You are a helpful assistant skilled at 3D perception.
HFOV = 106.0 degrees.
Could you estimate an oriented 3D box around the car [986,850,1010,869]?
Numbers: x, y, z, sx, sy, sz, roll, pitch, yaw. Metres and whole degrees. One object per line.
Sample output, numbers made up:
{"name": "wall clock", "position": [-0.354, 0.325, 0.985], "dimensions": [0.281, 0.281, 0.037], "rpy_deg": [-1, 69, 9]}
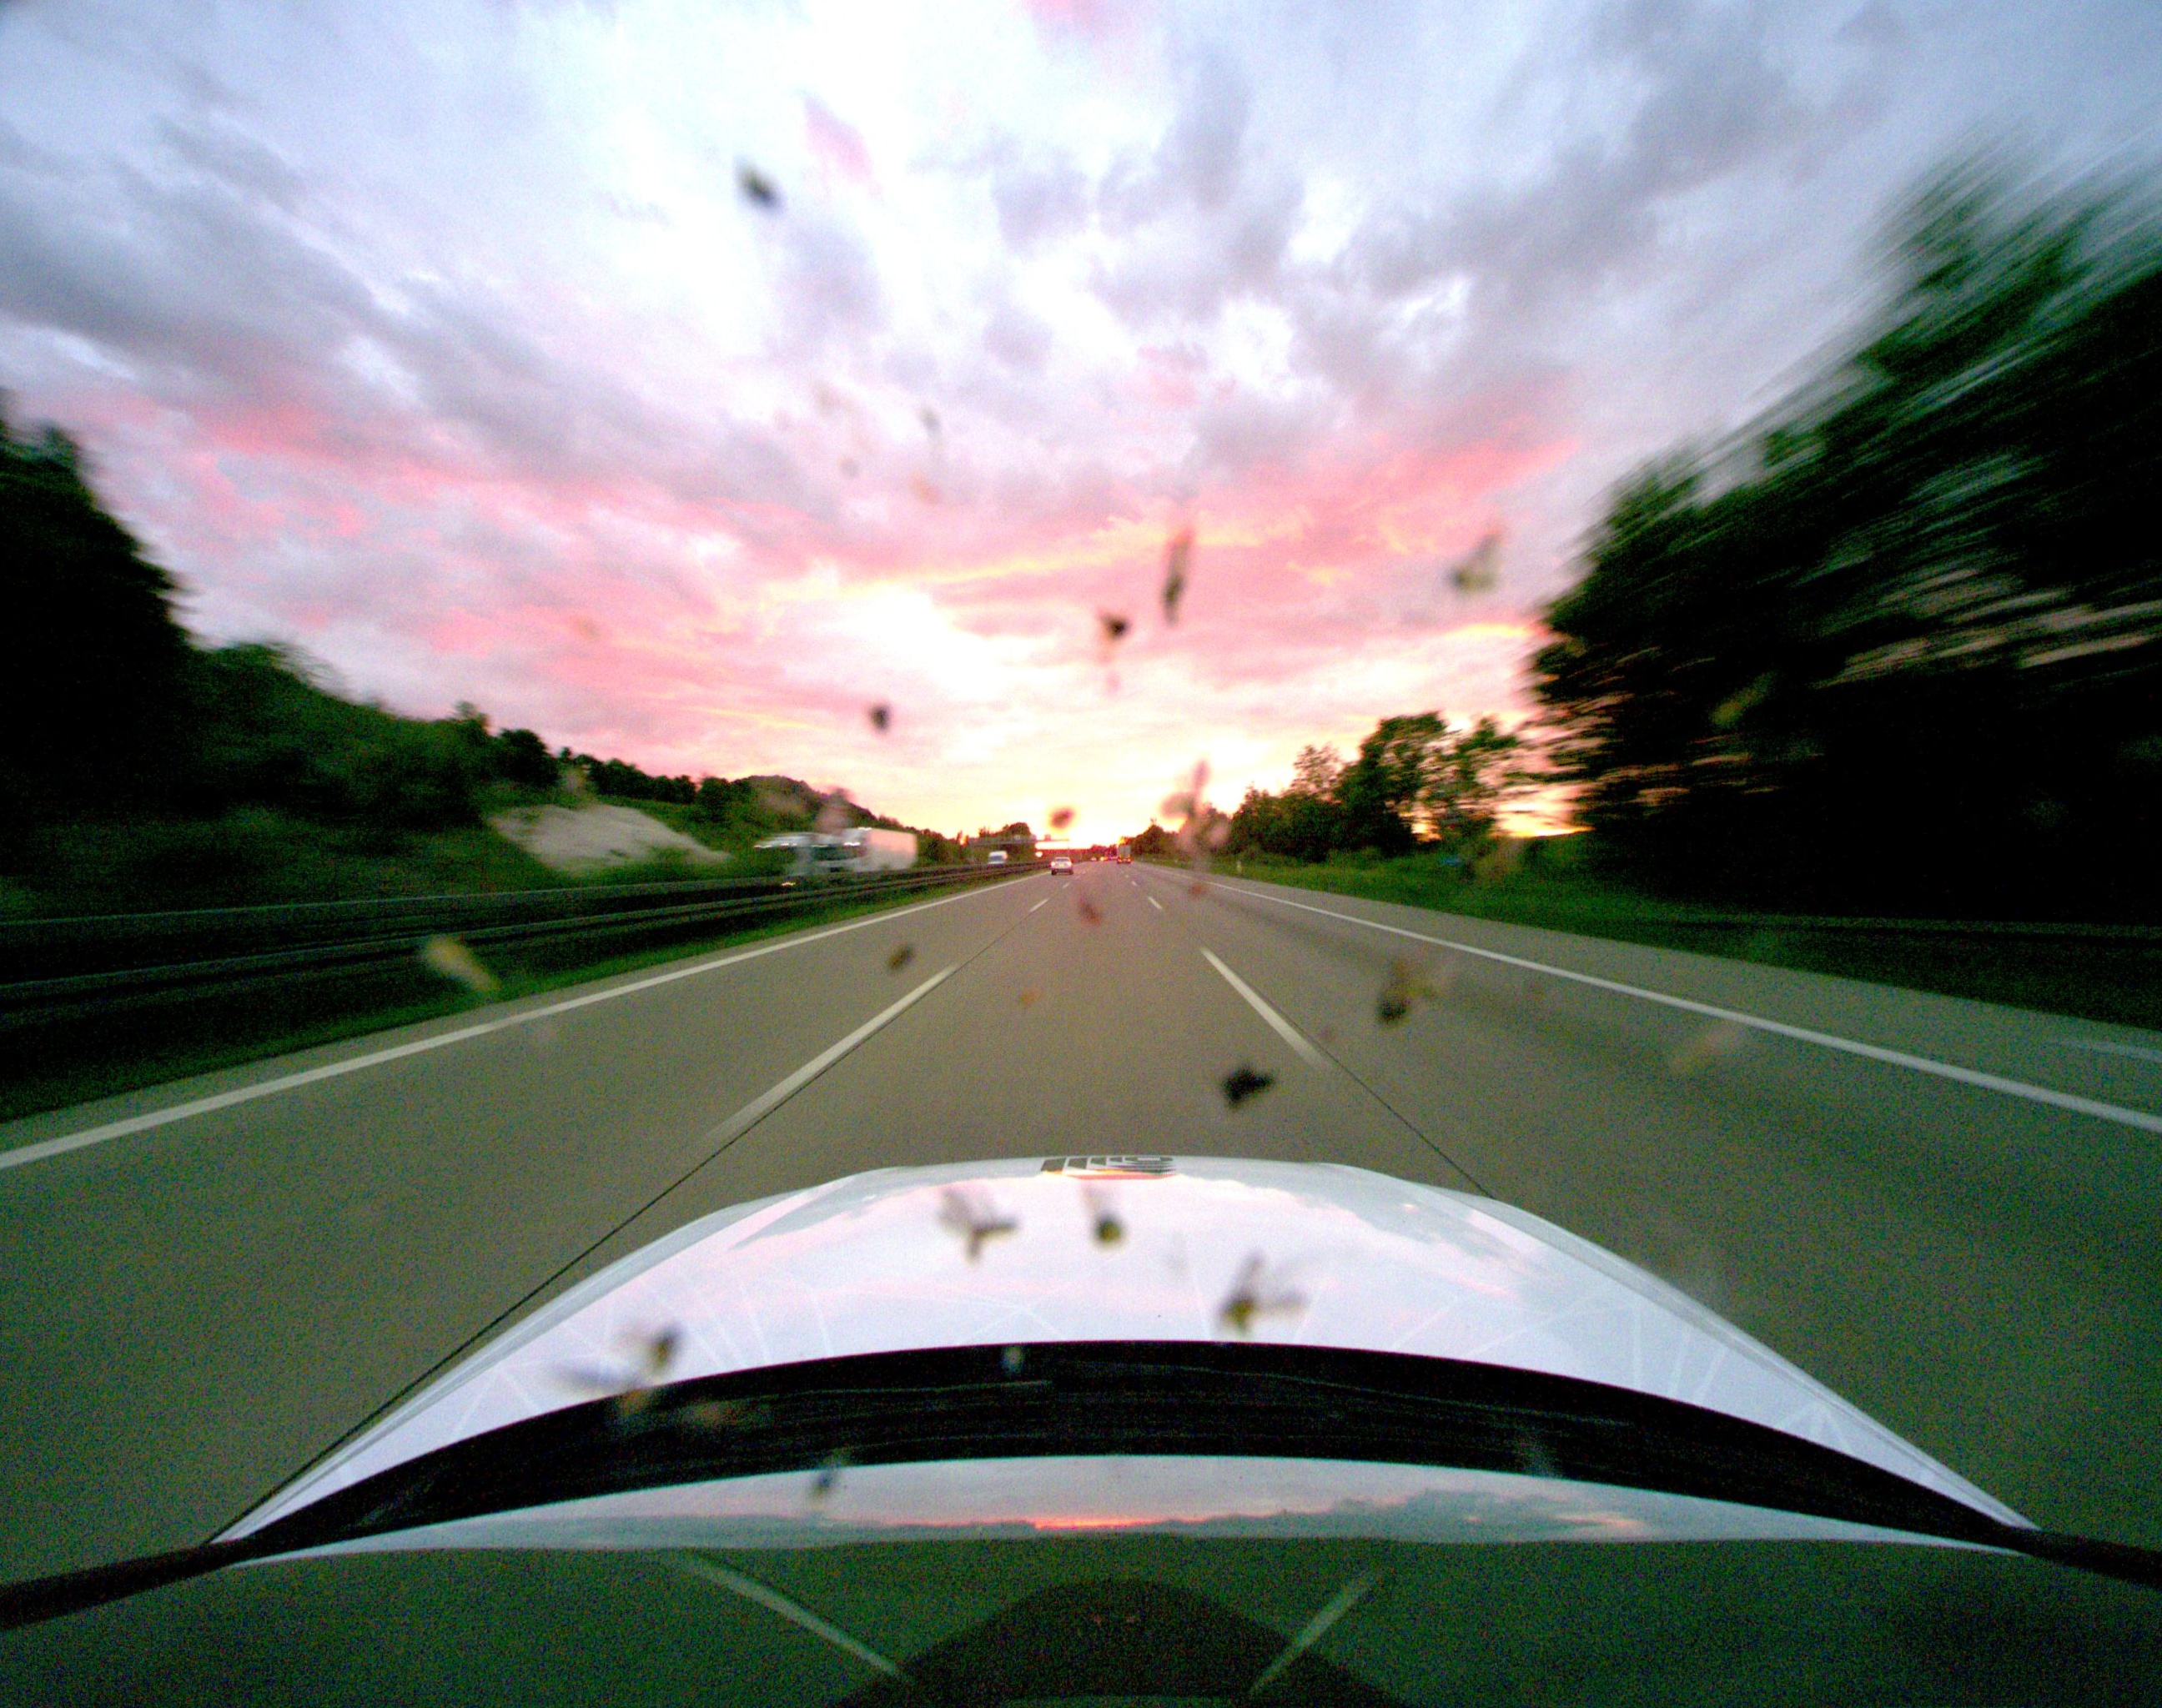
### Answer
{"name": "car", "position": [-10.409, 0.710, 102.617], "dimensions": [1.986, 2.287, 6.342], "rpy_deg": [-2, 0, 2]}

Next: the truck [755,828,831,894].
{"name": "truck", "position": [-19.685, 0.477, 56.110], "dimensions": [2.846, 4.210, 5.867], "rpy_deg": [-2, 0, 2]}

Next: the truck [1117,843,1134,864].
{"name": "truck", "position": [9.135, -0.149, 168.294], "dimensions": [3.231, 4.127, 9.794], "rpy_deg": [-2, 0, 3]}

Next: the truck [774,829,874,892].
{"name": "truck", "position": [-19.415, 0.479, 62.849], "dimensions": [2.884, 4.210, 13.608], "rpy_deg": [-2, 0, 2]}

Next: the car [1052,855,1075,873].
{"name": "car", "position": [-1.525, 0.889, 71.872], "dimensions": [1.783, 1.501, 5.039], "rpy_deg": [0, 0, 1]}

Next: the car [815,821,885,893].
{"name": "car", "position": [-15.337, 0.184, 54.475], "dimensions": [2.788, 4.487, 5.931], "rpy_deg": [-1, 0, 1]}

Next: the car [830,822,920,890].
{"name": "car", "position": [-15.167, 0.190, 61.446], "dimensions": [2.788, 4.487, 13.915], "rpy_deg": [-1, 0, 2]}
